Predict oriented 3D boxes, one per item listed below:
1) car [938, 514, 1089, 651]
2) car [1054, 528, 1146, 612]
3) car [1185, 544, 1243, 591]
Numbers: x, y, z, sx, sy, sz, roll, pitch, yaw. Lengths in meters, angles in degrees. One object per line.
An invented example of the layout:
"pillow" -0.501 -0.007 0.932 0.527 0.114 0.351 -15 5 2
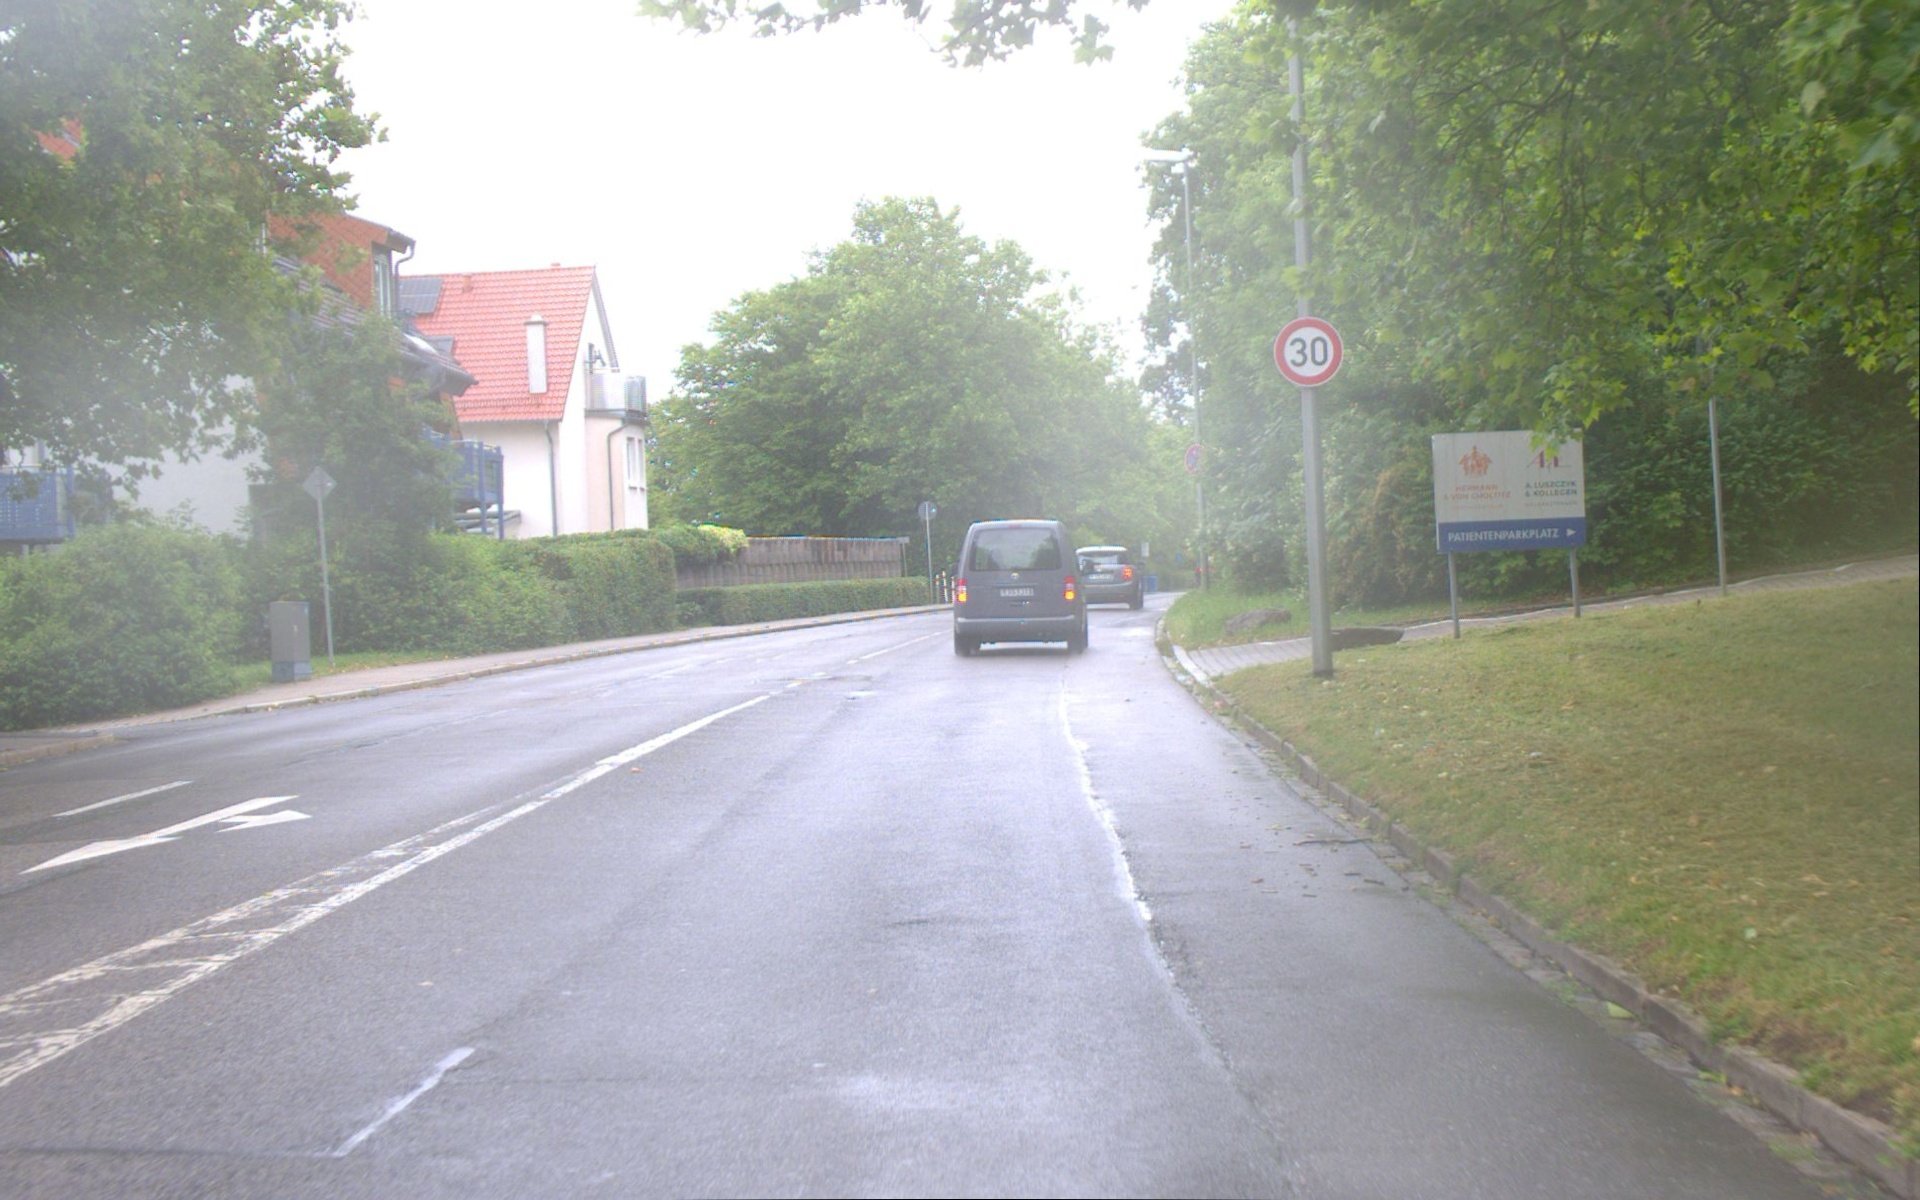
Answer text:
"car" 0.718 -0.283 47.633 1.993 1.787 4.000 -1 1 0
"car" 3.237 -0.715 79.069 1.950 1.744 4.000 -3 1 4
"car" 9.420 -1.218 127.749 1.993 1.744 4.000 0 1 2
